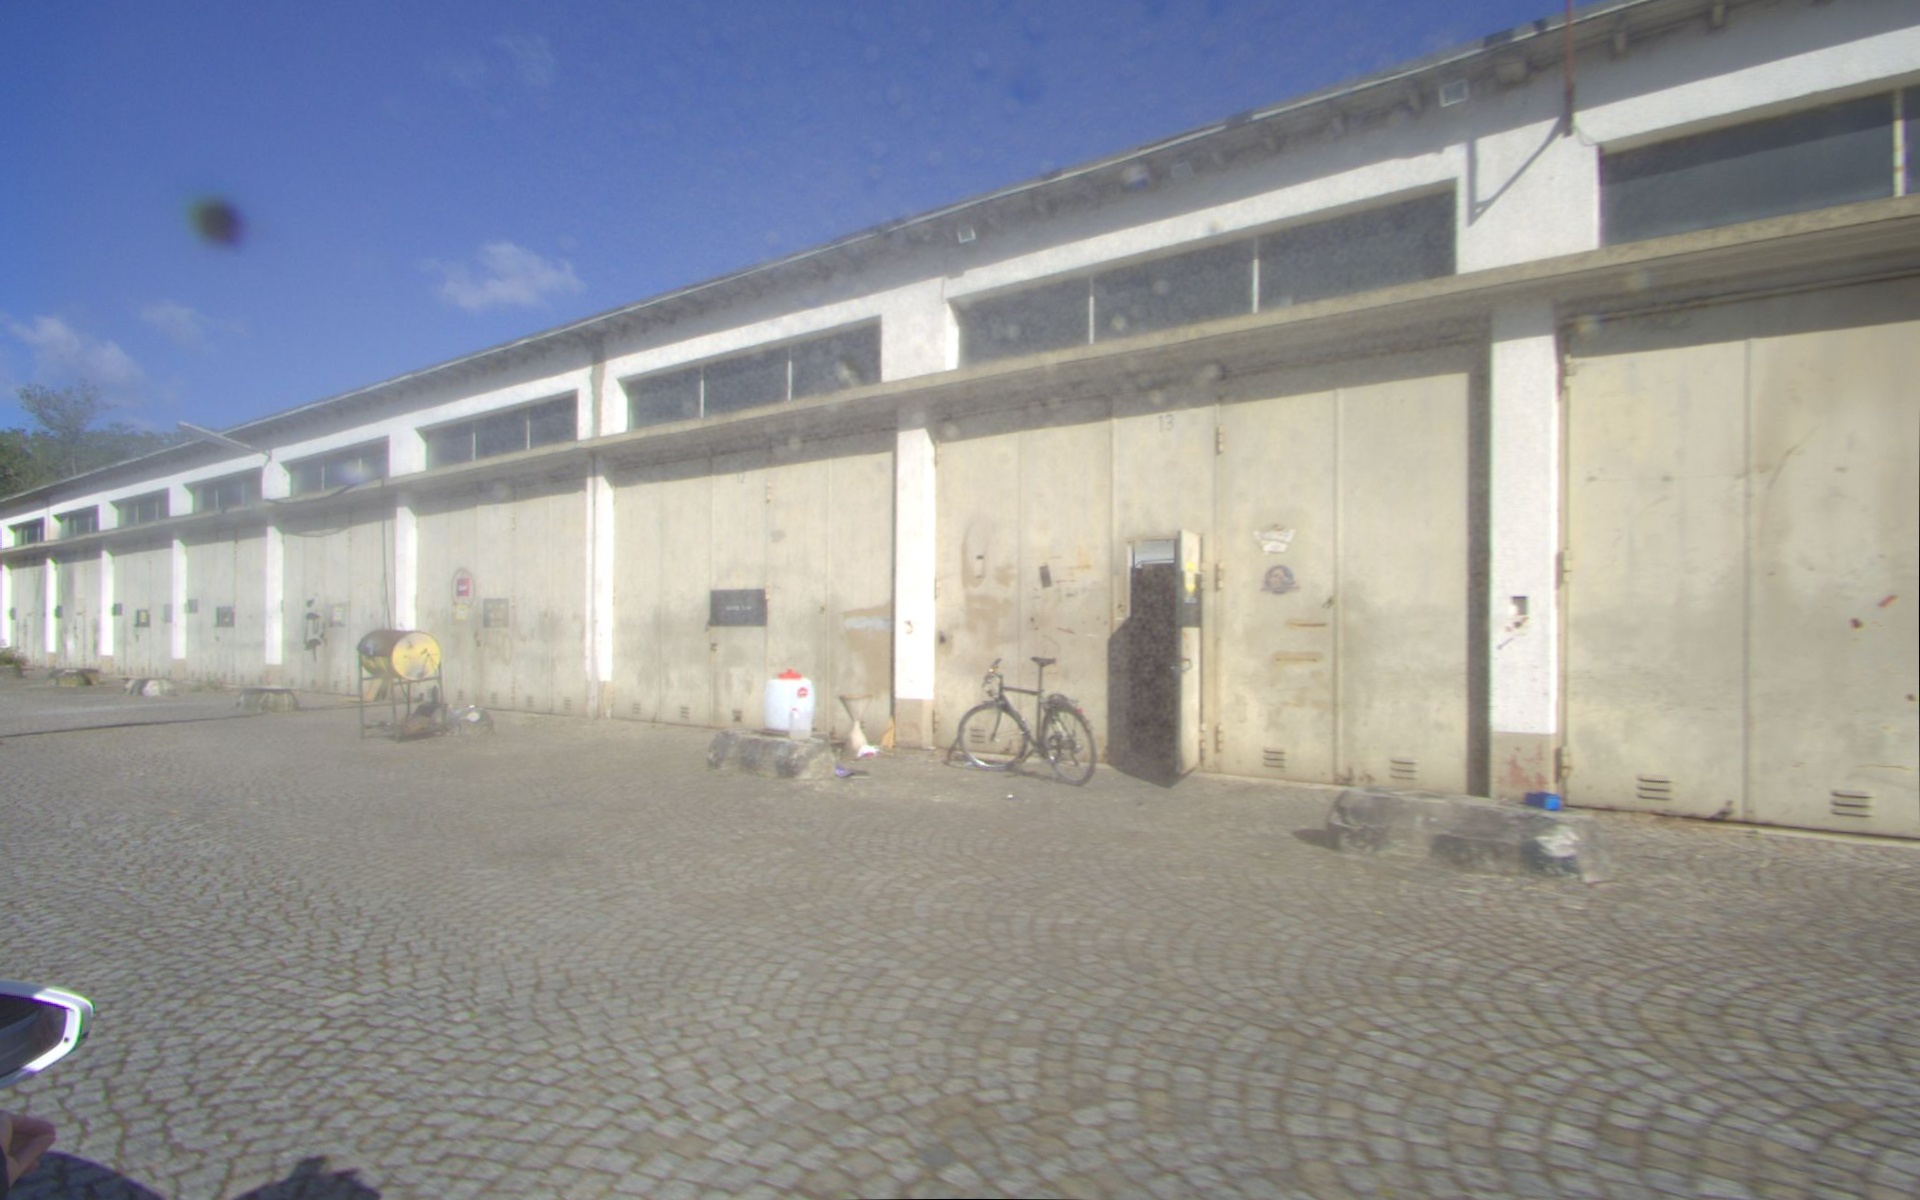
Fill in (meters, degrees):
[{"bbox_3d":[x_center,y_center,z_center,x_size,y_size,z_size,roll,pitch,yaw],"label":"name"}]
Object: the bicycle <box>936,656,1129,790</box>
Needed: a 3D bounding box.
[{"bbox_3d":[0.619,1.057,9.103,0.660,1.081,1.808,2,-3,-42],"label":"bicycle"}]
